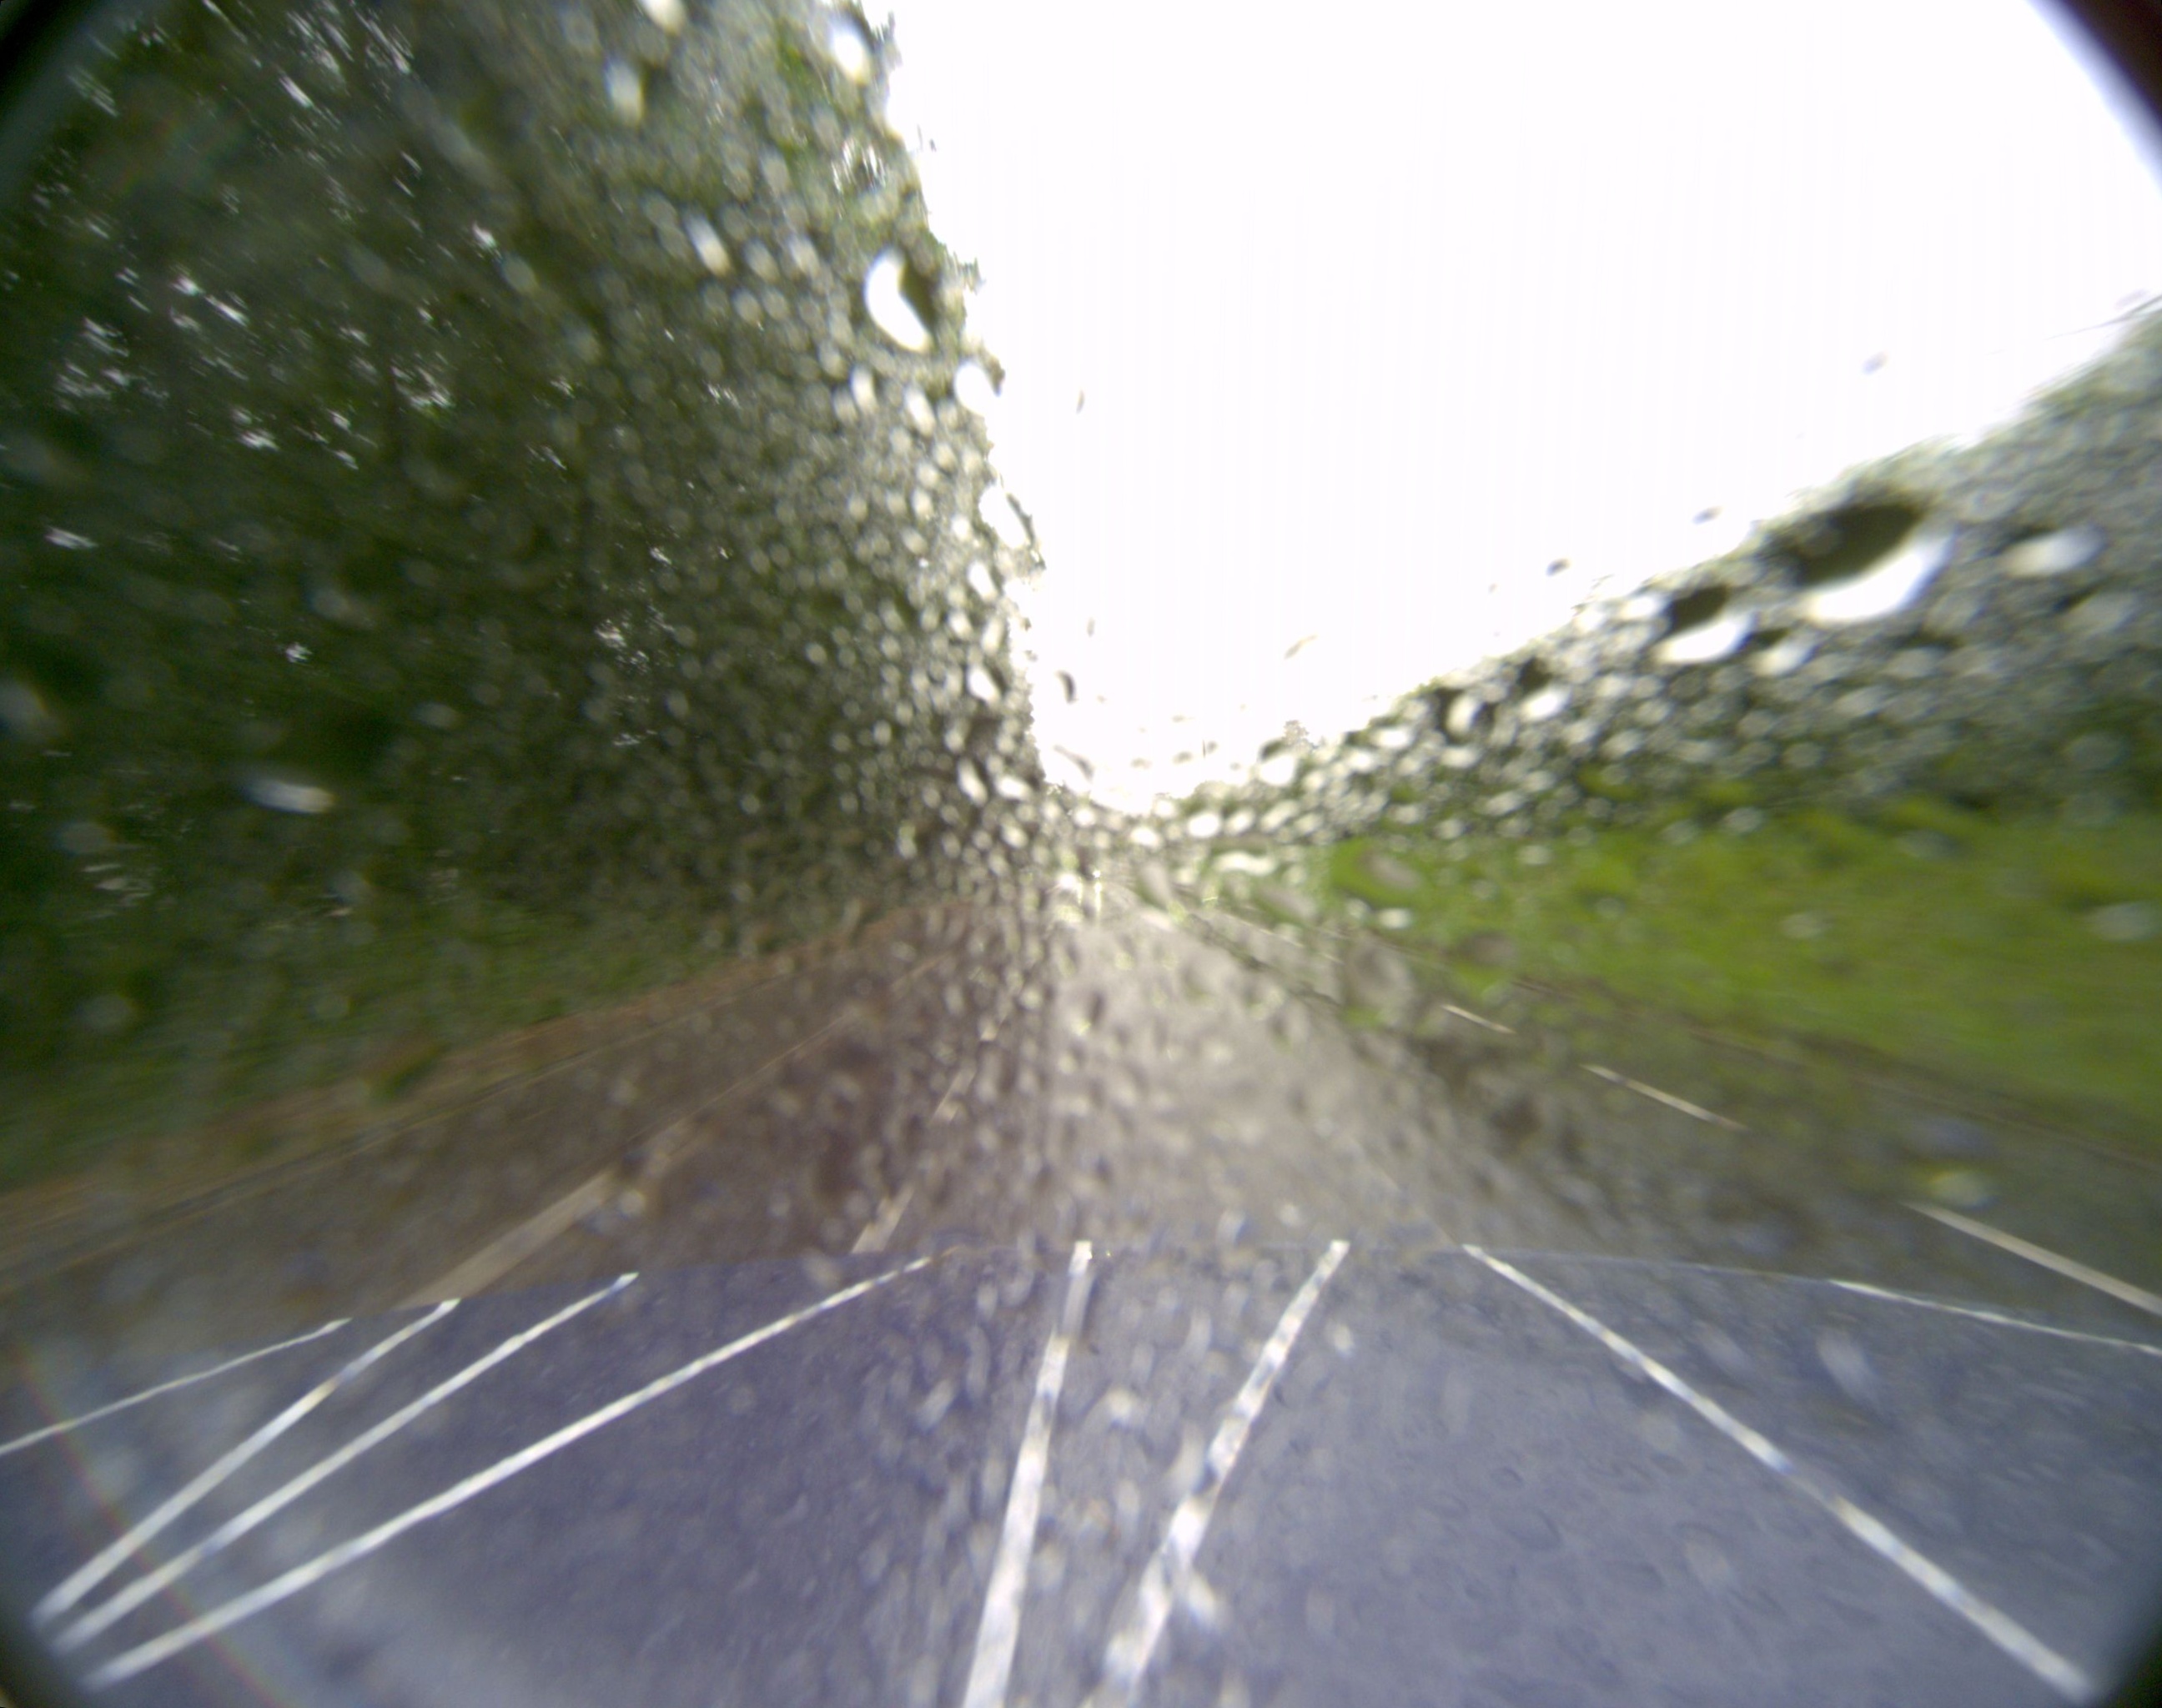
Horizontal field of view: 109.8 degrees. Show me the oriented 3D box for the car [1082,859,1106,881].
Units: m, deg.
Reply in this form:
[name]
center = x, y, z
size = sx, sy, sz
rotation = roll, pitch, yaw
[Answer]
[car]
center = 1.061, 1.242, 60.700
size = 1.799, 1.543, 4.000
rotation = -4, 0, 2
